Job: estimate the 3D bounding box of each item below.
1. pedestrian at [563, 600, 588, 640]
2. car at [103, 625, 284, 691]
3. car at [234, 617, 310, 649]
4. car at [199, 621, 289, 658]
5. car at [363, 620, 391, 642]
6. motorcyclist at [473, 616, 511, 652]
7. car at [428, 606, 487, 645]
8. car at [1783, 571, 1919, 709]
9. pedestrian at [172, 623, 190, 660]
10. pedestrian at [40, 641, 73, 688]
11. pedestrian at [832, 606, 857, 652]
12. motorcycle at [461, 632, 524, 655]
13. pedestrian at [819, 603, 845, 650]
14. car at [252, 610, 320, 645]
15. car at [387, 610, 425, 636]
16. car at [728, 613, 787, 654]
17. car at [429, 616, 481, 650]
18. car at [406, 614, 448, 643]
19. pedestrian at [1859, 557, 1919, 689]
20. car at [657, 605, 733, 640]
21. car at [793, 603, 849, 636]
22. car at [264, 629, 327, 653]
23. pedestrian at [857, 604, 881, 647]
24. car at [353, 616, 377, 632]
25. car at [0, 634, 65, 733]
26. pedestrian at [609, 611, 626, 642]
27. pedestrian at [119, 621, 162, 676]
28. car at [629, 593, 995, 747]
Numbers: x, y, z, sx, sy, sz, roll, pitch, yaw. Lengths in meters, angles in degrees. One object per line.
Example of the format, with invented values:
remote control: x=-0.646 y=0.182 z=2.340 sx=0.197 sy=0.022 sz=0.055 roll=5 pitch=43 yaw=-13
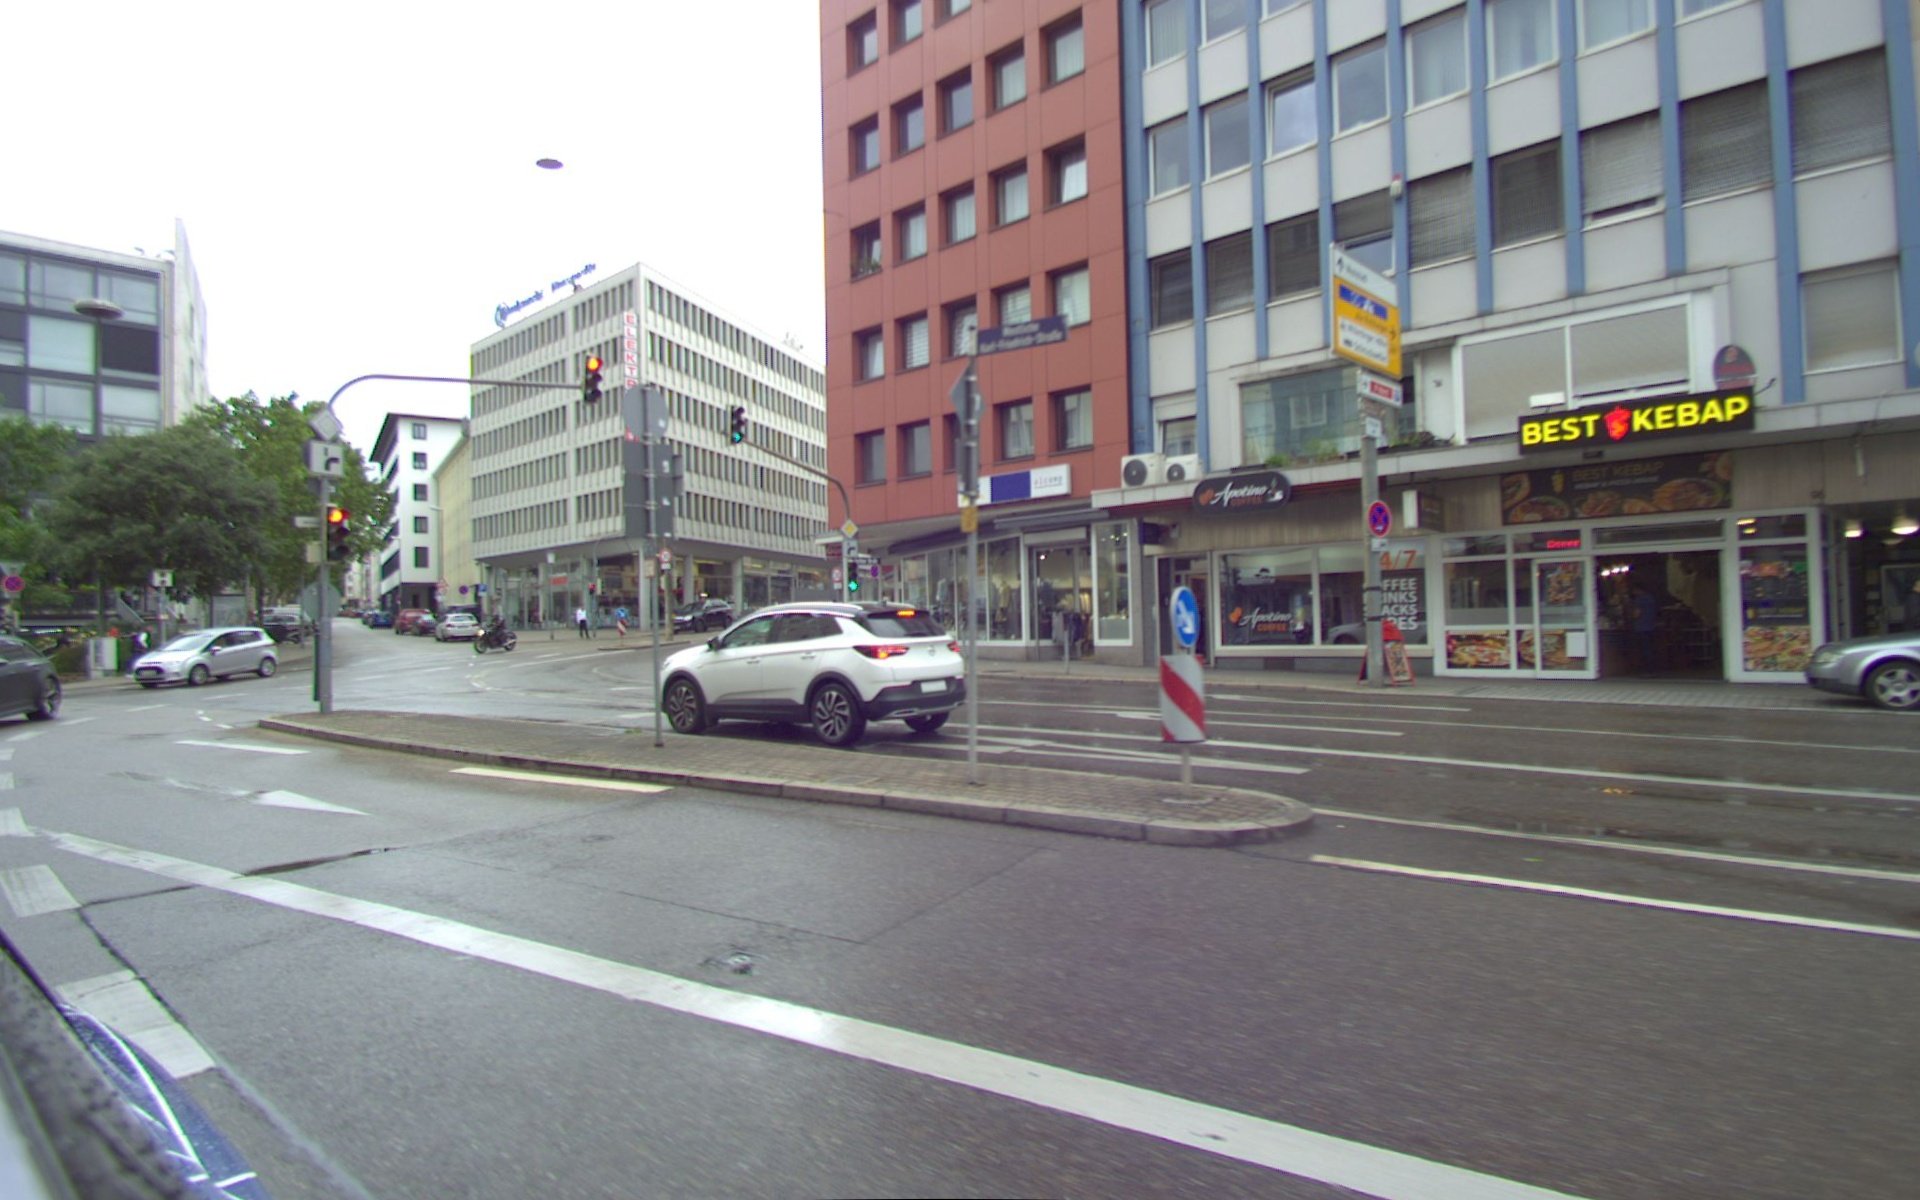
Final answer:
pedestrian: x=-20.000 y=1.035 z=52.638 sx=0.978 sy=2.029 sz=0.950 roll=-1 pitch=-1 yaw=-34
car: x=-22.477 y=1.656 z=29.895 sx=1.975 sy=1.595 sz=4.097 roll=-3 pitch=0 yaw=5
car: x=-39.574 y=1.865 z=58.322 sx=3.487 sy=1.570 sz=1.745 roll=-3 pitch=1 yaw=-32
car: x=-35.957 y=1.945 z=50.917 sx=3.486 sy=1.571 sz=1.745 roll=-3 pitch=1 yaw=-29
car: x=-54.853 y=2.929 z=95.185 sx=1.993 sy=1.854 sz=4.055 roll=-3 pitch=0 yaw=-33
motorcyclist: x=-19.189 y=1.391 z=41.503 sx=0.908 sy=1.453 sz=1.102 roll=-2 pitch=-1 yaw=31
car: x=-30.072 y=1.534 z=60.489 sx=2.065 sy=2.106 sz=4.621 roll=-3 pitch=0 yaw=-40
car: x=12.817 y=0.415 z=11.801 sx=4.879 sy=1.620 sz=1.845 roll=-2 pitch=0 yaw=43
pedestrian: x=-40.142 y=2.153 z=52.163 sx=0.583 sy=1.827 sz=0.706 roll=-4 pitch=-1 yaw=-32
pedestrian: x=-36.963 y=2.644 z=41.401 sx=0.591 sy=1.827 sz=0.780 roll=-5 pitch=-1 yaw=33
pedestrian: x=-4.599 y=1.147 z=40.375 sx=0.726 sy=1.761 sz=0.697 roll=-3 pitch=0 yaw=12
motorcycle: x=-19.150 y=1.764 z=41.518 sx=0.710 sy=0.848 sz=2.370 roll=-2 pitch=-1 yaw=32
pedestrian: x=-5.010 y=1.033 z=39.591 sx=0.726 sy=1.761 sz=0.740 roll=-3 pitch=0 yaw=12
car: x=-48.748 y=1.947 z=73.273 sx=3.770 sy=2.282 sz=1.992 roll=-3 pitch=1 yaw=-25
car: x=-39.901 y=1.662 z=72.854 sx=1.902 sy=1.684 sz=4.456 roll=-3 pitch=0 yaw=-35
car: x=-7.745 y=1.229 z=38.971 sx=1.770 sy=1.371 sz=4.066 roll=-3 pitch=0 yaw=-5
car: x=-27.617 y=1.803 z=55.255 sx=1.969 sy=1.643 sz=4.627 roll=-3 pitch=0 yaw=-33
car: x=-35.556 y=1.923 z=67.437 sx=1.993 sy=1.763 sz=4.627 roll=-3 pitch=0 yaw=-33
pedestrian: x=13.143 y=0.286 z=13.639 sx=1.418 sy=1.731 sz=0.942 roll=-3 pitch=0 yaw=40
car: x=-14.300 y=1.169 z=54.830 sx=1.986 sy=1.696 sz=3.972 roll=-2 pitch=0 yaw=21
car: x=-7.288 y=1.000 z=53.485 sx=1.975 sy=1.563 sz=4.371 roll=-3 pitch=0 yaw=5
car: x=-40.572 y=2.515 z=61.877 sx=2.996 sy=1.191 sz=2.058 roll=-3 pitch=1 yaw=-29
pedestrian: x=-3.652 y=1.020 z=40.691 sx=0.688 sy=1.642 sz=0.730 roll=-3 pitch=0 yaw=15
car: x=-68.865 y=2.793 z=117.043 sx=1.994 sy=1.661 sz=4.438 roll=-3 pitch=0 yaw=-35
car: x=-15.830 y=1.331 z=15.451 sx=1.965 sy=1.502 sz=4.750 roll=-2 pitch=0 yaw=-25
pedestrian: x=-18.803 y=1.444 z=55.548 sx=0.703 sy=1.635 sz=0.726 roll=-1 pitch=-1 yaw=-30
pedestrian: x=-28.303 y=1.684 z=34.959 sx=0.786 sy=1.761 sz=0.775 roll=-5 pitch=3 yaw=33
car: x=-1.957 y=0.836 z=12.723 sx=4.421 sy=1.563 sz=1.975 roll=-3 pitch=0 yaw=37
